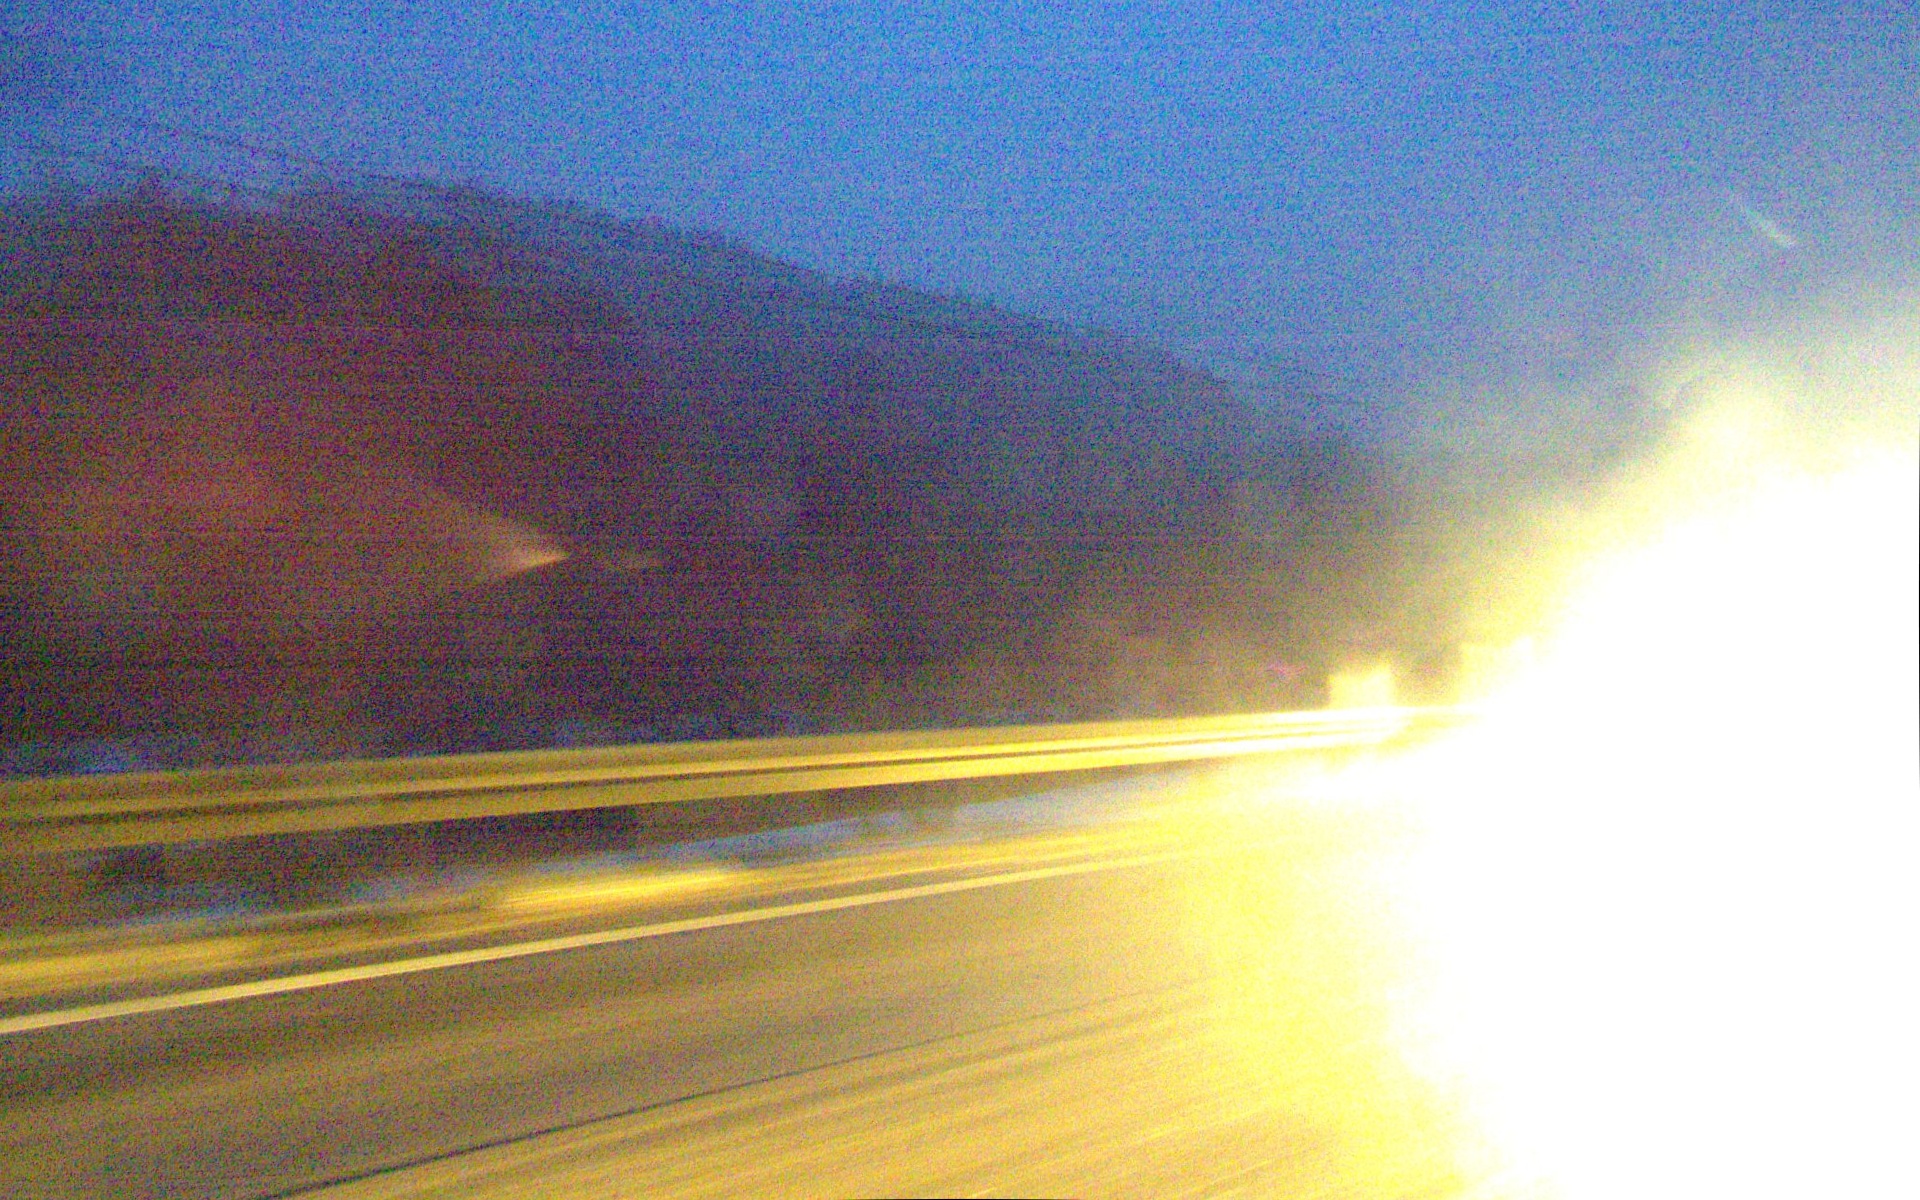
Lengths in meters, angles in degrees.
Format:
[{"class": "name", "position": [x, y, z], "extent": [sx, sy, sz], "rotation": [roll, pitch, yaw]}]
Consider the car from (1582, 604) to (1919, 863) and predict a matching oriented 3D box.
[{"class": "car", "position": [6.955, 0.862, 7.850], "extent": [4.200, 1.500, 1.834], "rotation": [2, 0, -31]}]
